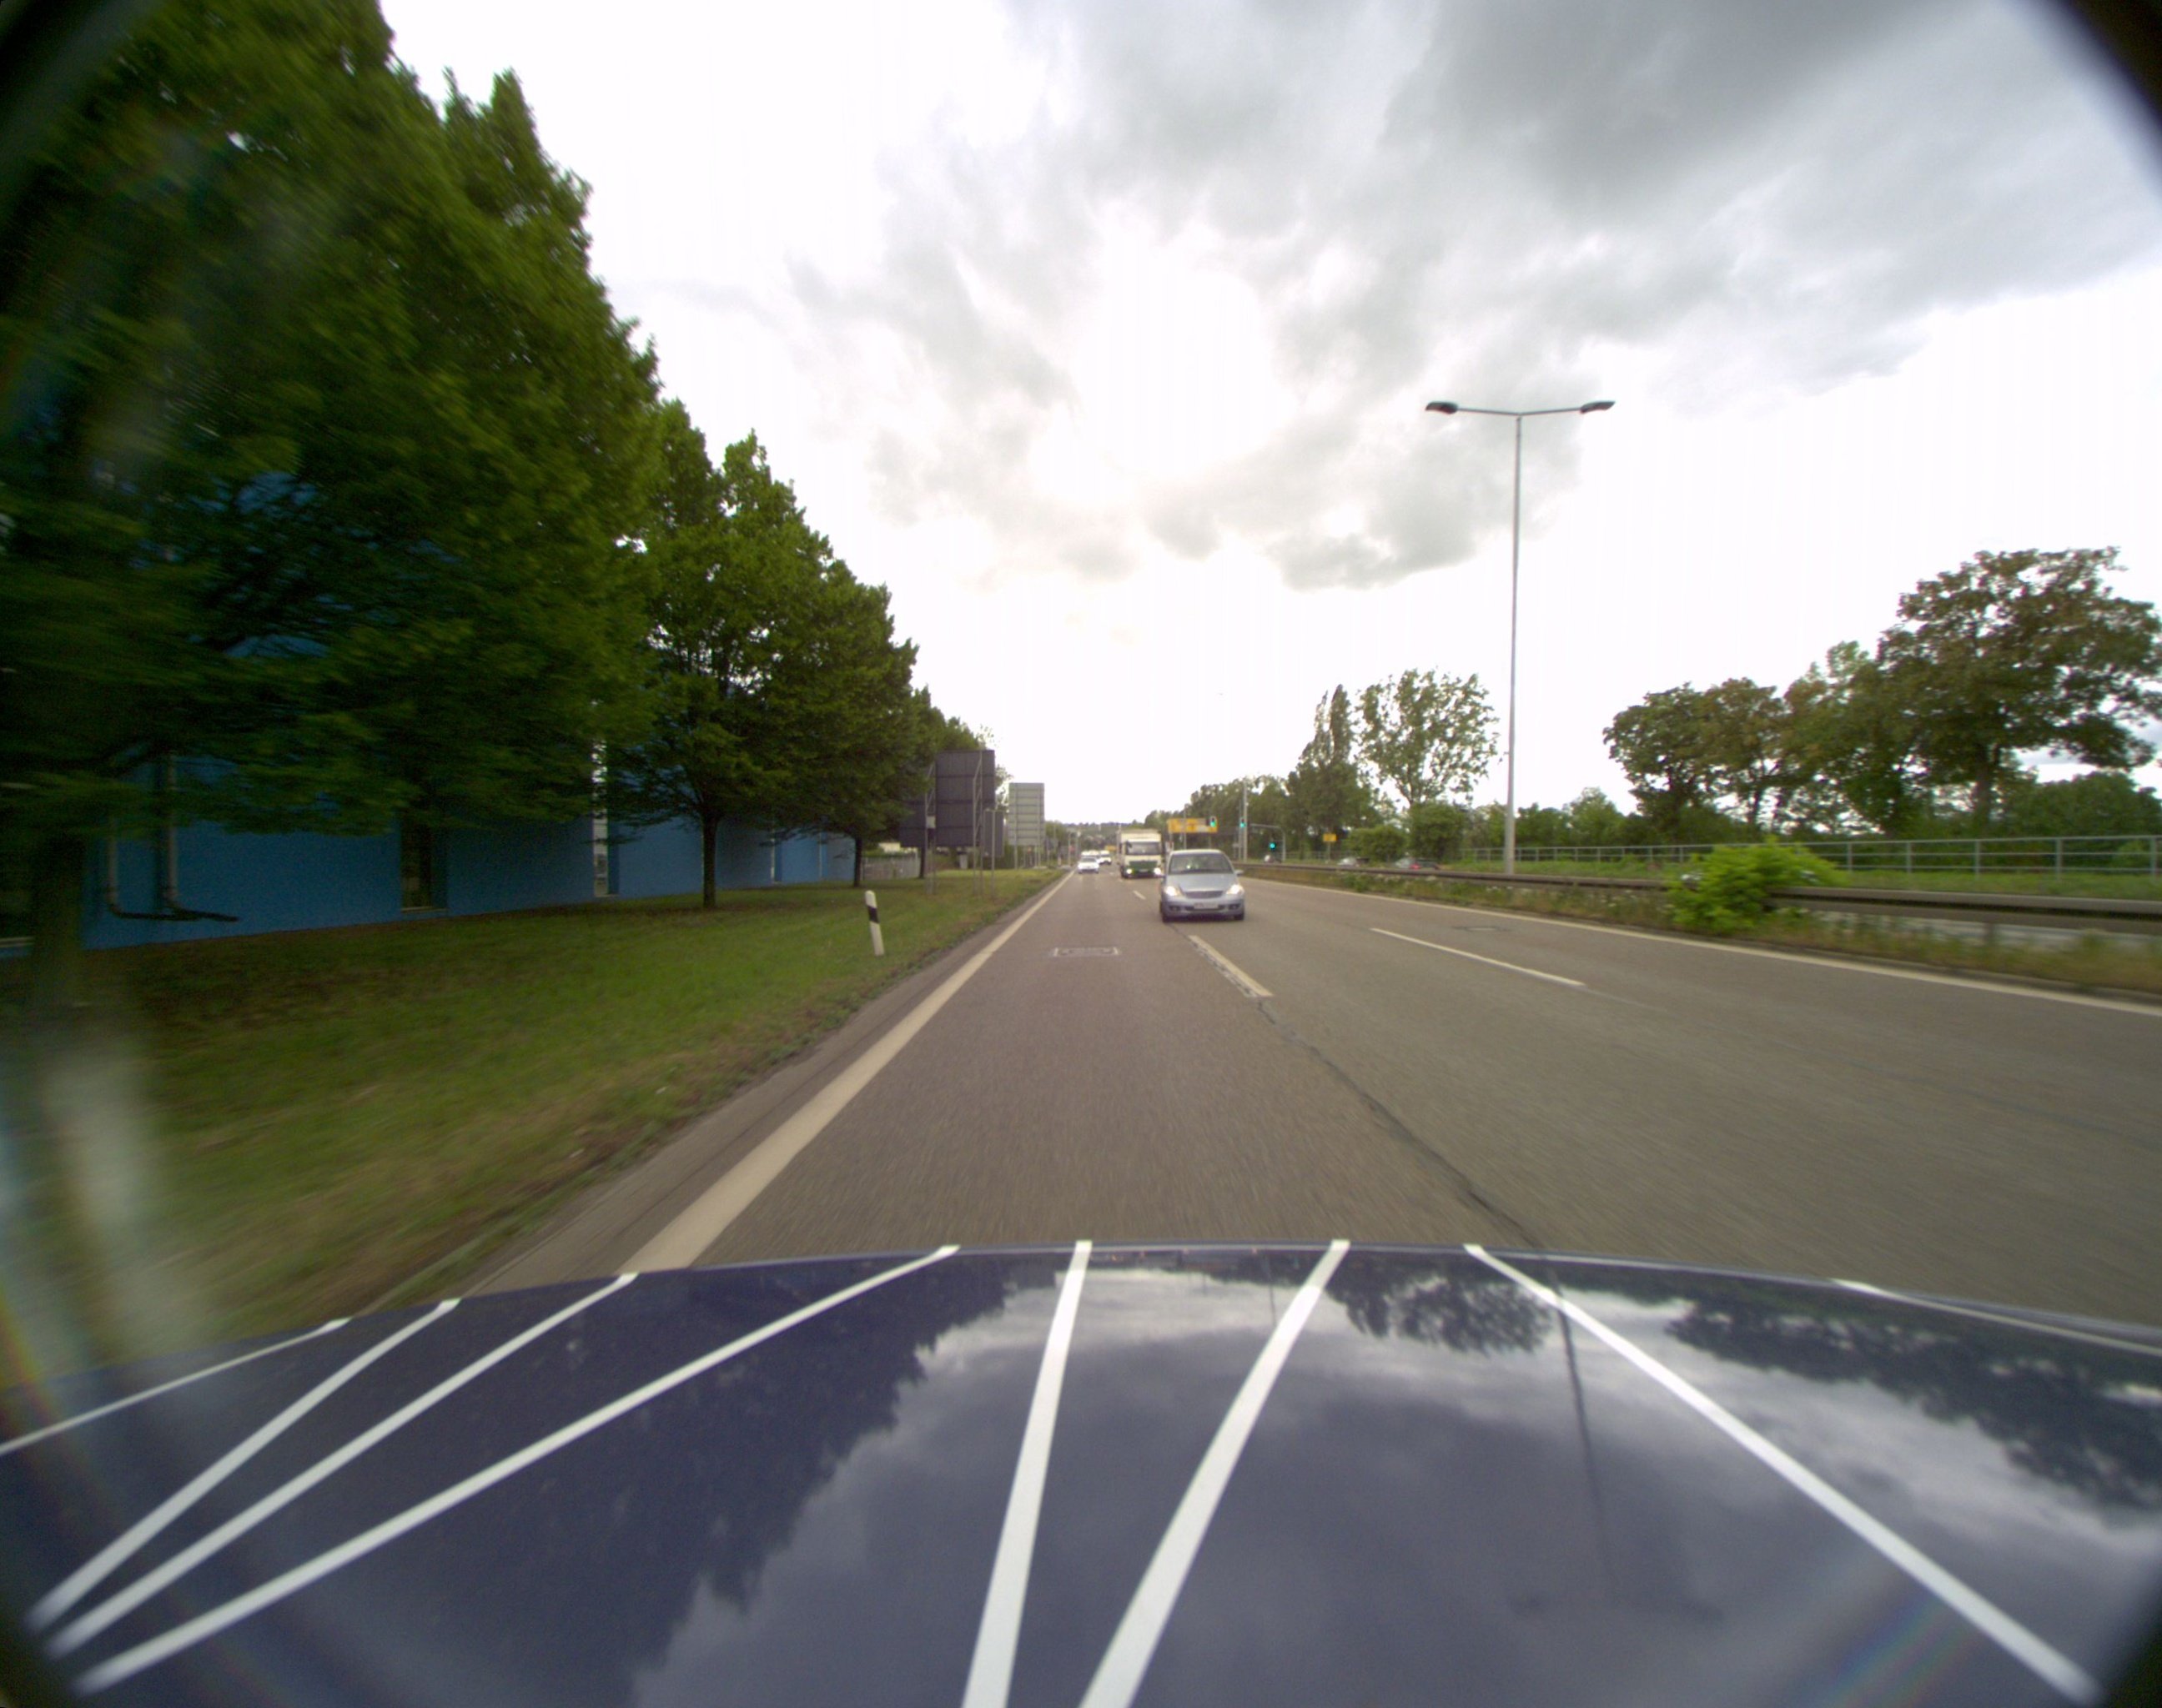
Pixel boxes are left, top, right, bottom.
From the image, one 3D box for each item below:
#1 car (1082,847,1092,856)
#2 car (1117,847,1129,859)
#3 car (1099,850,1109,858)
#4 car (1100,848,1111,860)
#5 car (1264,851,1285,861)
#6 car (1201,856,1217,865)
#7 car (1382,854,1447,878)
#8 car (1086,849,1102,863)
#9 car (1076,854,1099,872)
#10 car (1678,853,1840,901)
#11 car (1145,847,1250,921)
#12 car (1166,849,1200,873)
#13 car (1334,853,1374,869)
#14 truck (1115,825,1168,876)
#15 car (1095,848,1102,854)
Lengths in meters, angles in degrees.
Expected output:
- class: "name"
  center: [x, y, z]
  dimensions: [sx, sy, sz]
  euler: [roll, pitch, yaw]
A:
- class: "car"
  center: [1.216, -0.482, 154.250]
  dimensions: [1.949, 1.811, 4.000]
  euler: [-1, 0, 0]
- class: "car"
  center: [7.915, -0.146, 142.155]
  dimensions: [1.949, 2.176, 4.000]
  euler: [-1, 0, 0]
- class: "car"
  center: [5.117, 0.081, 169.960]
  dimensions: [1.949, 1.811, 4.000]
  euler: [-1, 0, 0]
- class: "car"
  center: [4.492, -0.062, 138.950]
  dimensions: [1.949, 2.176, 4.000]
  euler: [-1, 0, 0]
- class: "car"
  center: [24.139, 0.239, 94.980]
  dimensions: [1.582, 1.291, 4.061]
  euler: [-1, 0, 1]
- class: "car"
  center: [17.637, 0.889, 104.636]
  dimensions: [1.549, 1.099, 4.067]
  euler: [-1, 0, 1]
- class: "car"
  center: [19.533, 0.671, 44.731]
  dimensions: [1.664, 1.291, 4.788]
  euler: [-1, 0, 0]
- class: "car"
  center: [1.658, 0.283, 98.996]
  dimensions: [1.883, 1.714, 4.146]
  euler: [-1, 0, 0]
- class: "car"
  center: [0.565, 0.765, 66.860]
  dimensions: [1.949, 1.516, 4.000]
  euler: [-1, 0, 0]
- class: "car"
  center: [23.144, 0.742, 26.189]
  dimensions: [1.883, 1.481, 4.202]
  euler: [-1, 0, 1]
- class: "car"
  center: [2.603, 0.629, 17.931]
  dimensions: [1.883, 1.530, 4.146]
  euler: [-1, 0, 1]
- class: "car"
  center: [7.505, 0.503, 56.277]
  dimensions: [1.883, 1.714, 4.146]
  euler: [-1, 0, 0]
- class: "car"
  center: [23.063, 0.570, 64.375]
  dimensions: [1.664, 1.291, 4.788]
  euler: [-1, 0, 0]
- class: "truck"
  center: [4.002, -0.205, 53.067]
  dimensions: [2.657, 3.121, 12.508]
  euler: [-1, 0, 0]
- class: "car"
  center: [5.227, -0.792, 222.028]
  dimensions: [1.949, 1.811, 4.000]
  euler: [-1, 0, 0]
